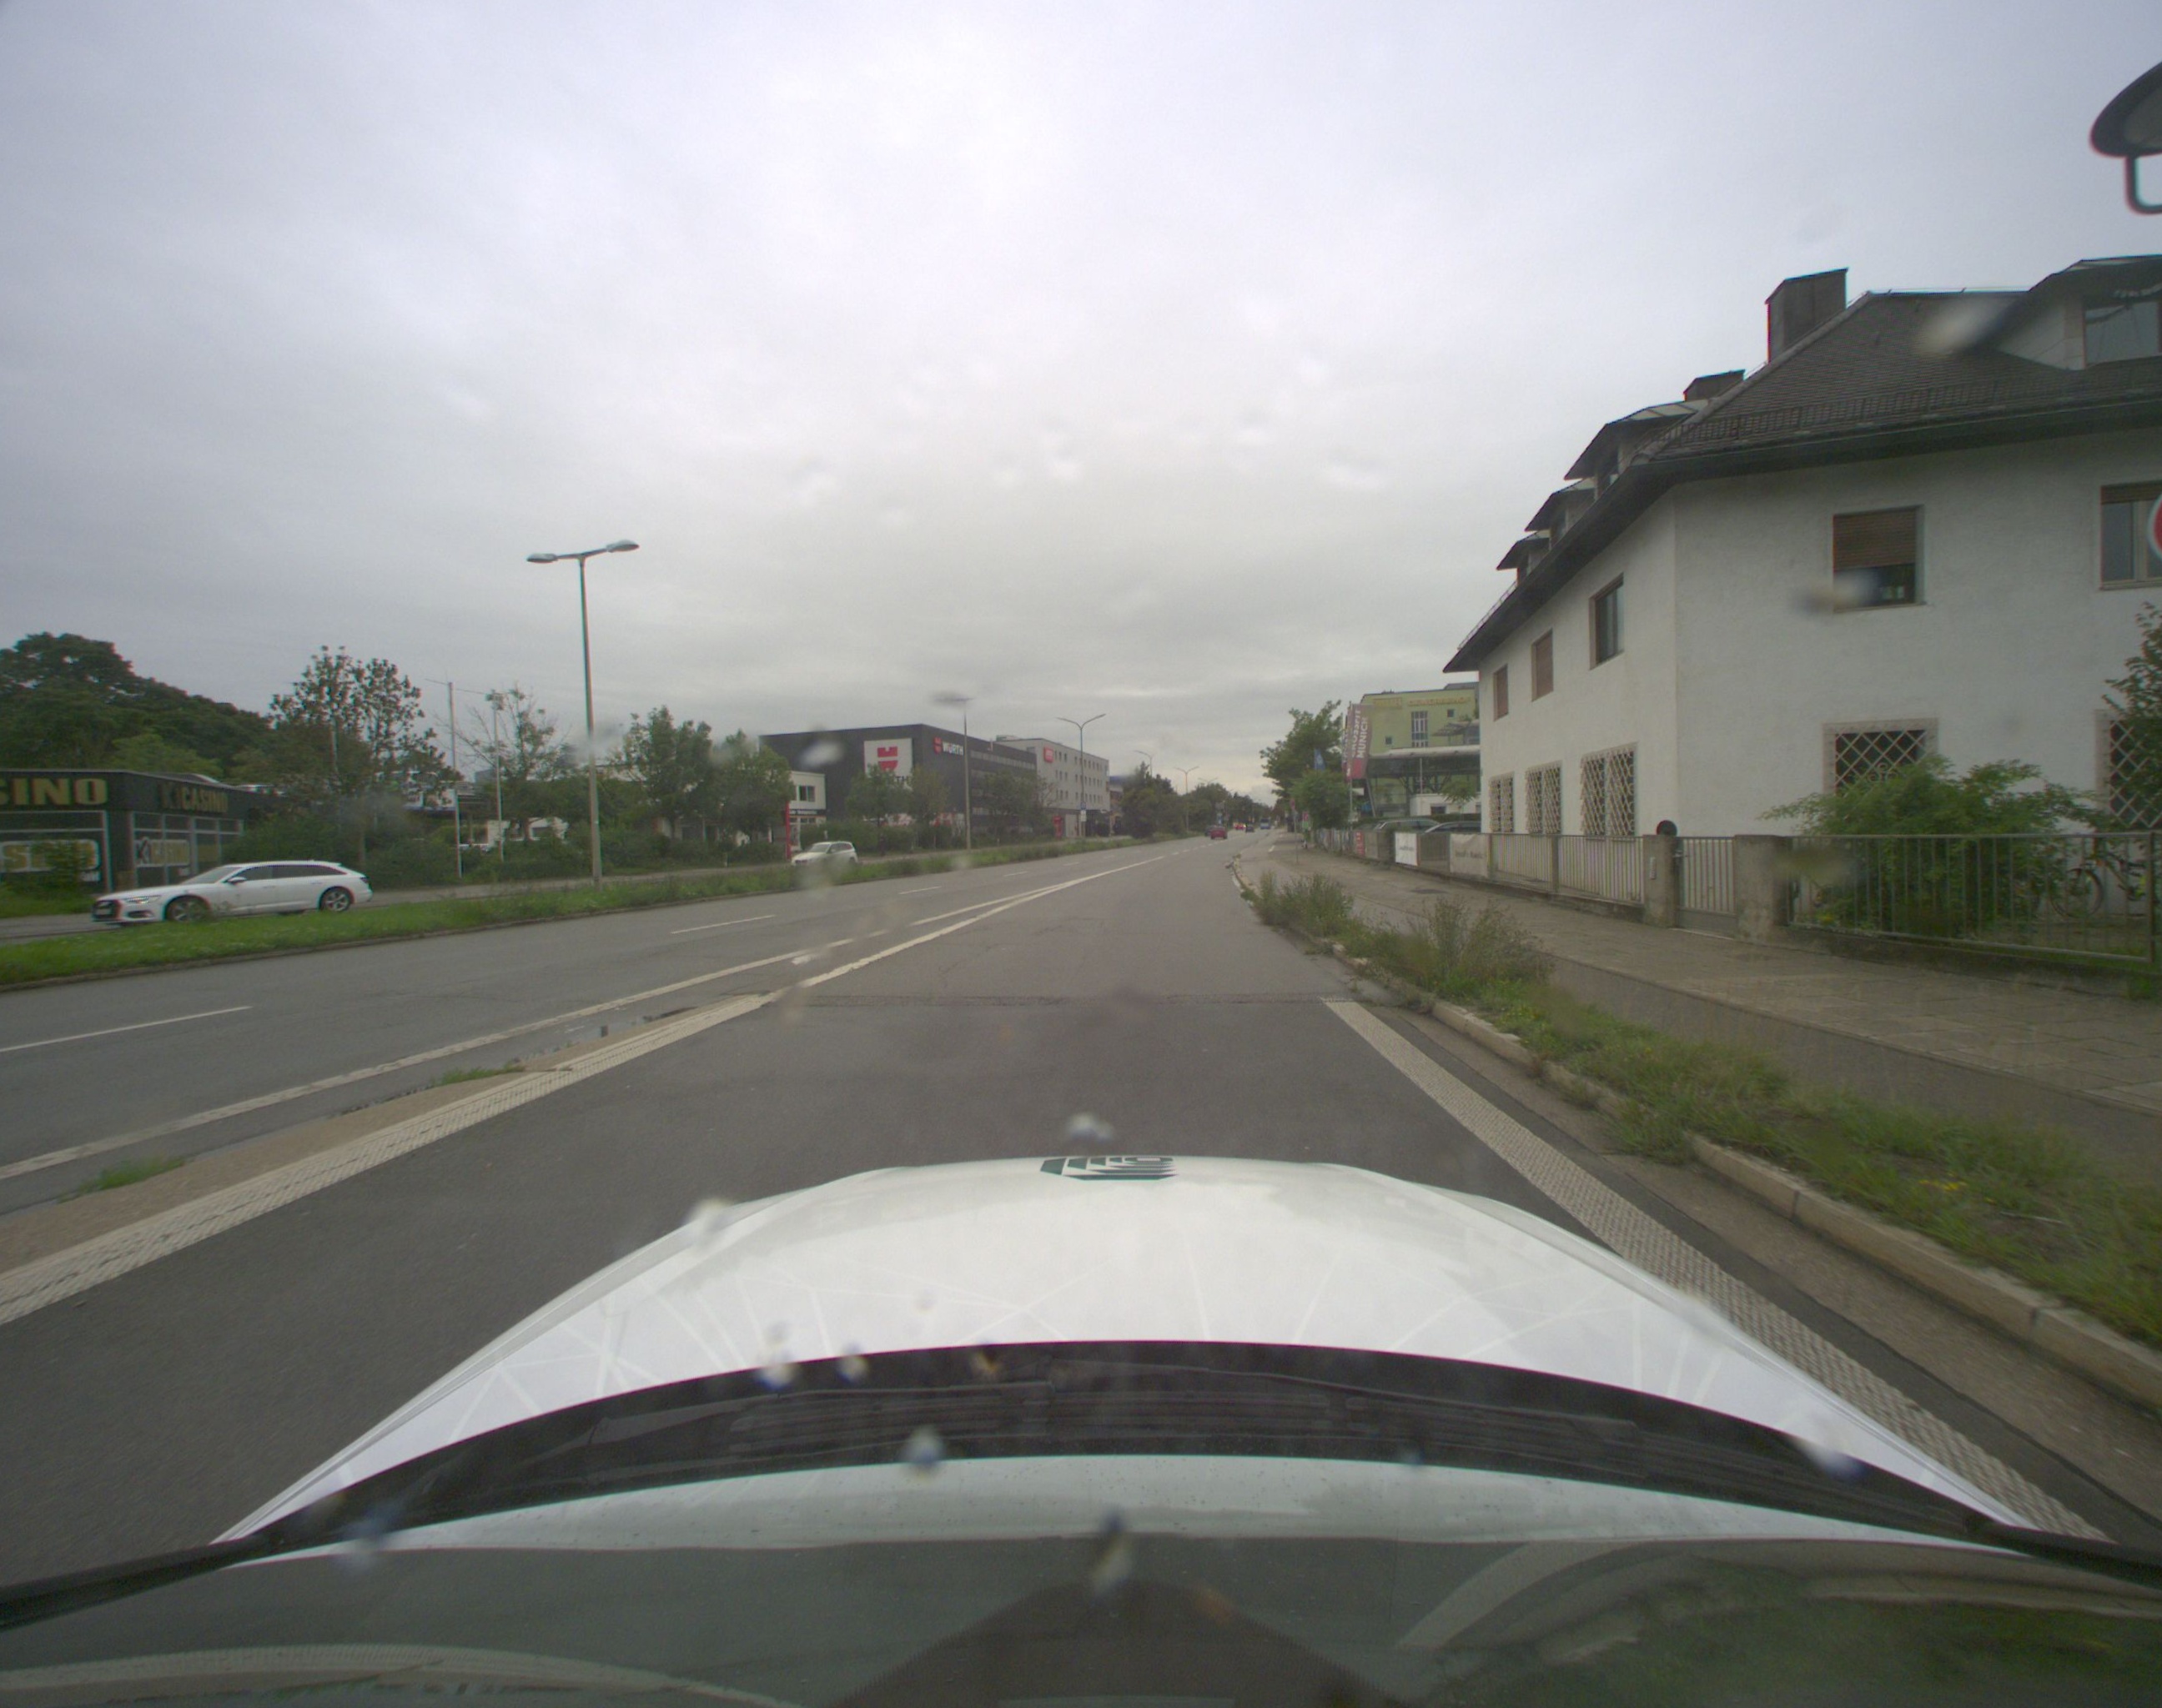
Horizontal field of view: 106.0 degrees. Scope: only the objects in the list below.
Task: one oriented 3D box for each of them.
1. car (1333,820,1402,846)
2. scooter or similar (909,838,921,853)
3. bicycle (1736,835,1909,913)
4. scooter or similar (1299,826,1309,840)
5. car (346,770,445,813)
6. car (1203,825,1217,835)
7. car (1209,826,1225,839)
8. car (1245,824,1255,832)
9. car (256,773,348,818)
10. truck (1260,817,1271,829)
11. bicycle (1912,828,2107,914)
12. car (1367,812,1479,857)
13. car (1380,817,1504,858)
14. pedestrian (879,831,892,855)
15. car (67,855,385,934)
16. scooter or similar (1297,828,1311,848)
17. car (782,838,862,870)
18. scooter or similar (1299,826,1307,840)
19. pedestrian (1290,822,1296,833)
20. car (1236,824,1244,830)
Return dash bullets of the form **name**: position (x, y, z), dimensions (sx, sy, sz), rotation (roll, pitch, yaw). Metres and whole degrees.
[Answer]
- **car**: position (18.148, -1.345, 51.808), dimensions (3.985, 1.460, 1.800), rotation (-2, 2, 14)
- **scooter or similar**: position (-14.100, -0.718, 69.223), dimensions (0.442, 1.227, 1.392), rotation (-1, 2, 13)
- **bicycle**: position (10.506, 0.284, 11.586), dimensions (1.832, 1.069, 0.475), rotation (-1, 1, 12)
- **scooter or similar**: position (19.620, -1.879, 71.770), dimensions (0.493, 1.204, 1.432), rotation (-5, 1, 5)
- **car**: position (-41.150, -3.704, 48.930), dimensions (4.747, 2.014, 2.143), rotation (-4, -2, 15)
- **car**: position (19.449, -3.580, 122.531), dimensions (1.791, 1.432, 4.015), rotation (-2, 2, 13)
- **car**: position (17.172, -2.736, 102.826), dimensions (1.850, 1.617, 4.014), rotation (-1, 1, 12)
- **car**: position (34.935, -5.374, 168.138), dimensions (1.791, 1.432, 4.015), rotation (-1, 2, 13)
- **car**: position (-50.671, -3.754, 53.013), dimensions (4.747, 2.370, 2.143), rotation (-4, -2, 15)
- **truck**: position (52.194, -8.824, 230.399), dimensions (2.948, 3.285, 7.945), rotation (-1, 2, 13)
- **bicycle**: position (12.501, 0.226, 11.009), dimensions (1.832, 1.112, 0.475), rotation (-1, 1, 12)
- **car**: position (14.238, -0.805, 34.121), dimensions (4.068, 1.725, 1.934), rotation (-1, 2, 12)
- **car**: position (13.773, -0.635, 31.338), dimensions (4.068, 1.450, 1.934), rotation (-1, 2, 12)
- **pedestrian**: position (-15.059, -0.880, 62.814), dimensions (0.618, 1.830, 0.821), rotation (-1, 2, 15)
- **car**: position (-21.150, 0.907, 20.567), dimensions (1.979, 1.572, 5.140), rotation (-2, 1, 15)
- **scooter or similar**: position (14.033, -0.989, 51.347), dimensions (0.395, 1.223, 1.640), rotation (-4, 0, 2)
- **car**: position (-14.211, -0.050, 44.964), dimensions (1.979, 1.572, 4.593), rotation (-2, 1, 15)
- **scooter or similar**: position (20.164, -1.947, 73.975), dimensions (0.492, 1.204, 1.435), rotation (-4, 2, 12)
- **pedestrian**: position (32.100, -4.016, 123.270), dimensions (0.753, 1.728, 0.898), rotation (-6, 1, 10)
- **car**: position (42.139, -7.165, 215.553), dimensions (1.791, 1.432, 4.015), rotation (-1, 2, 13)
